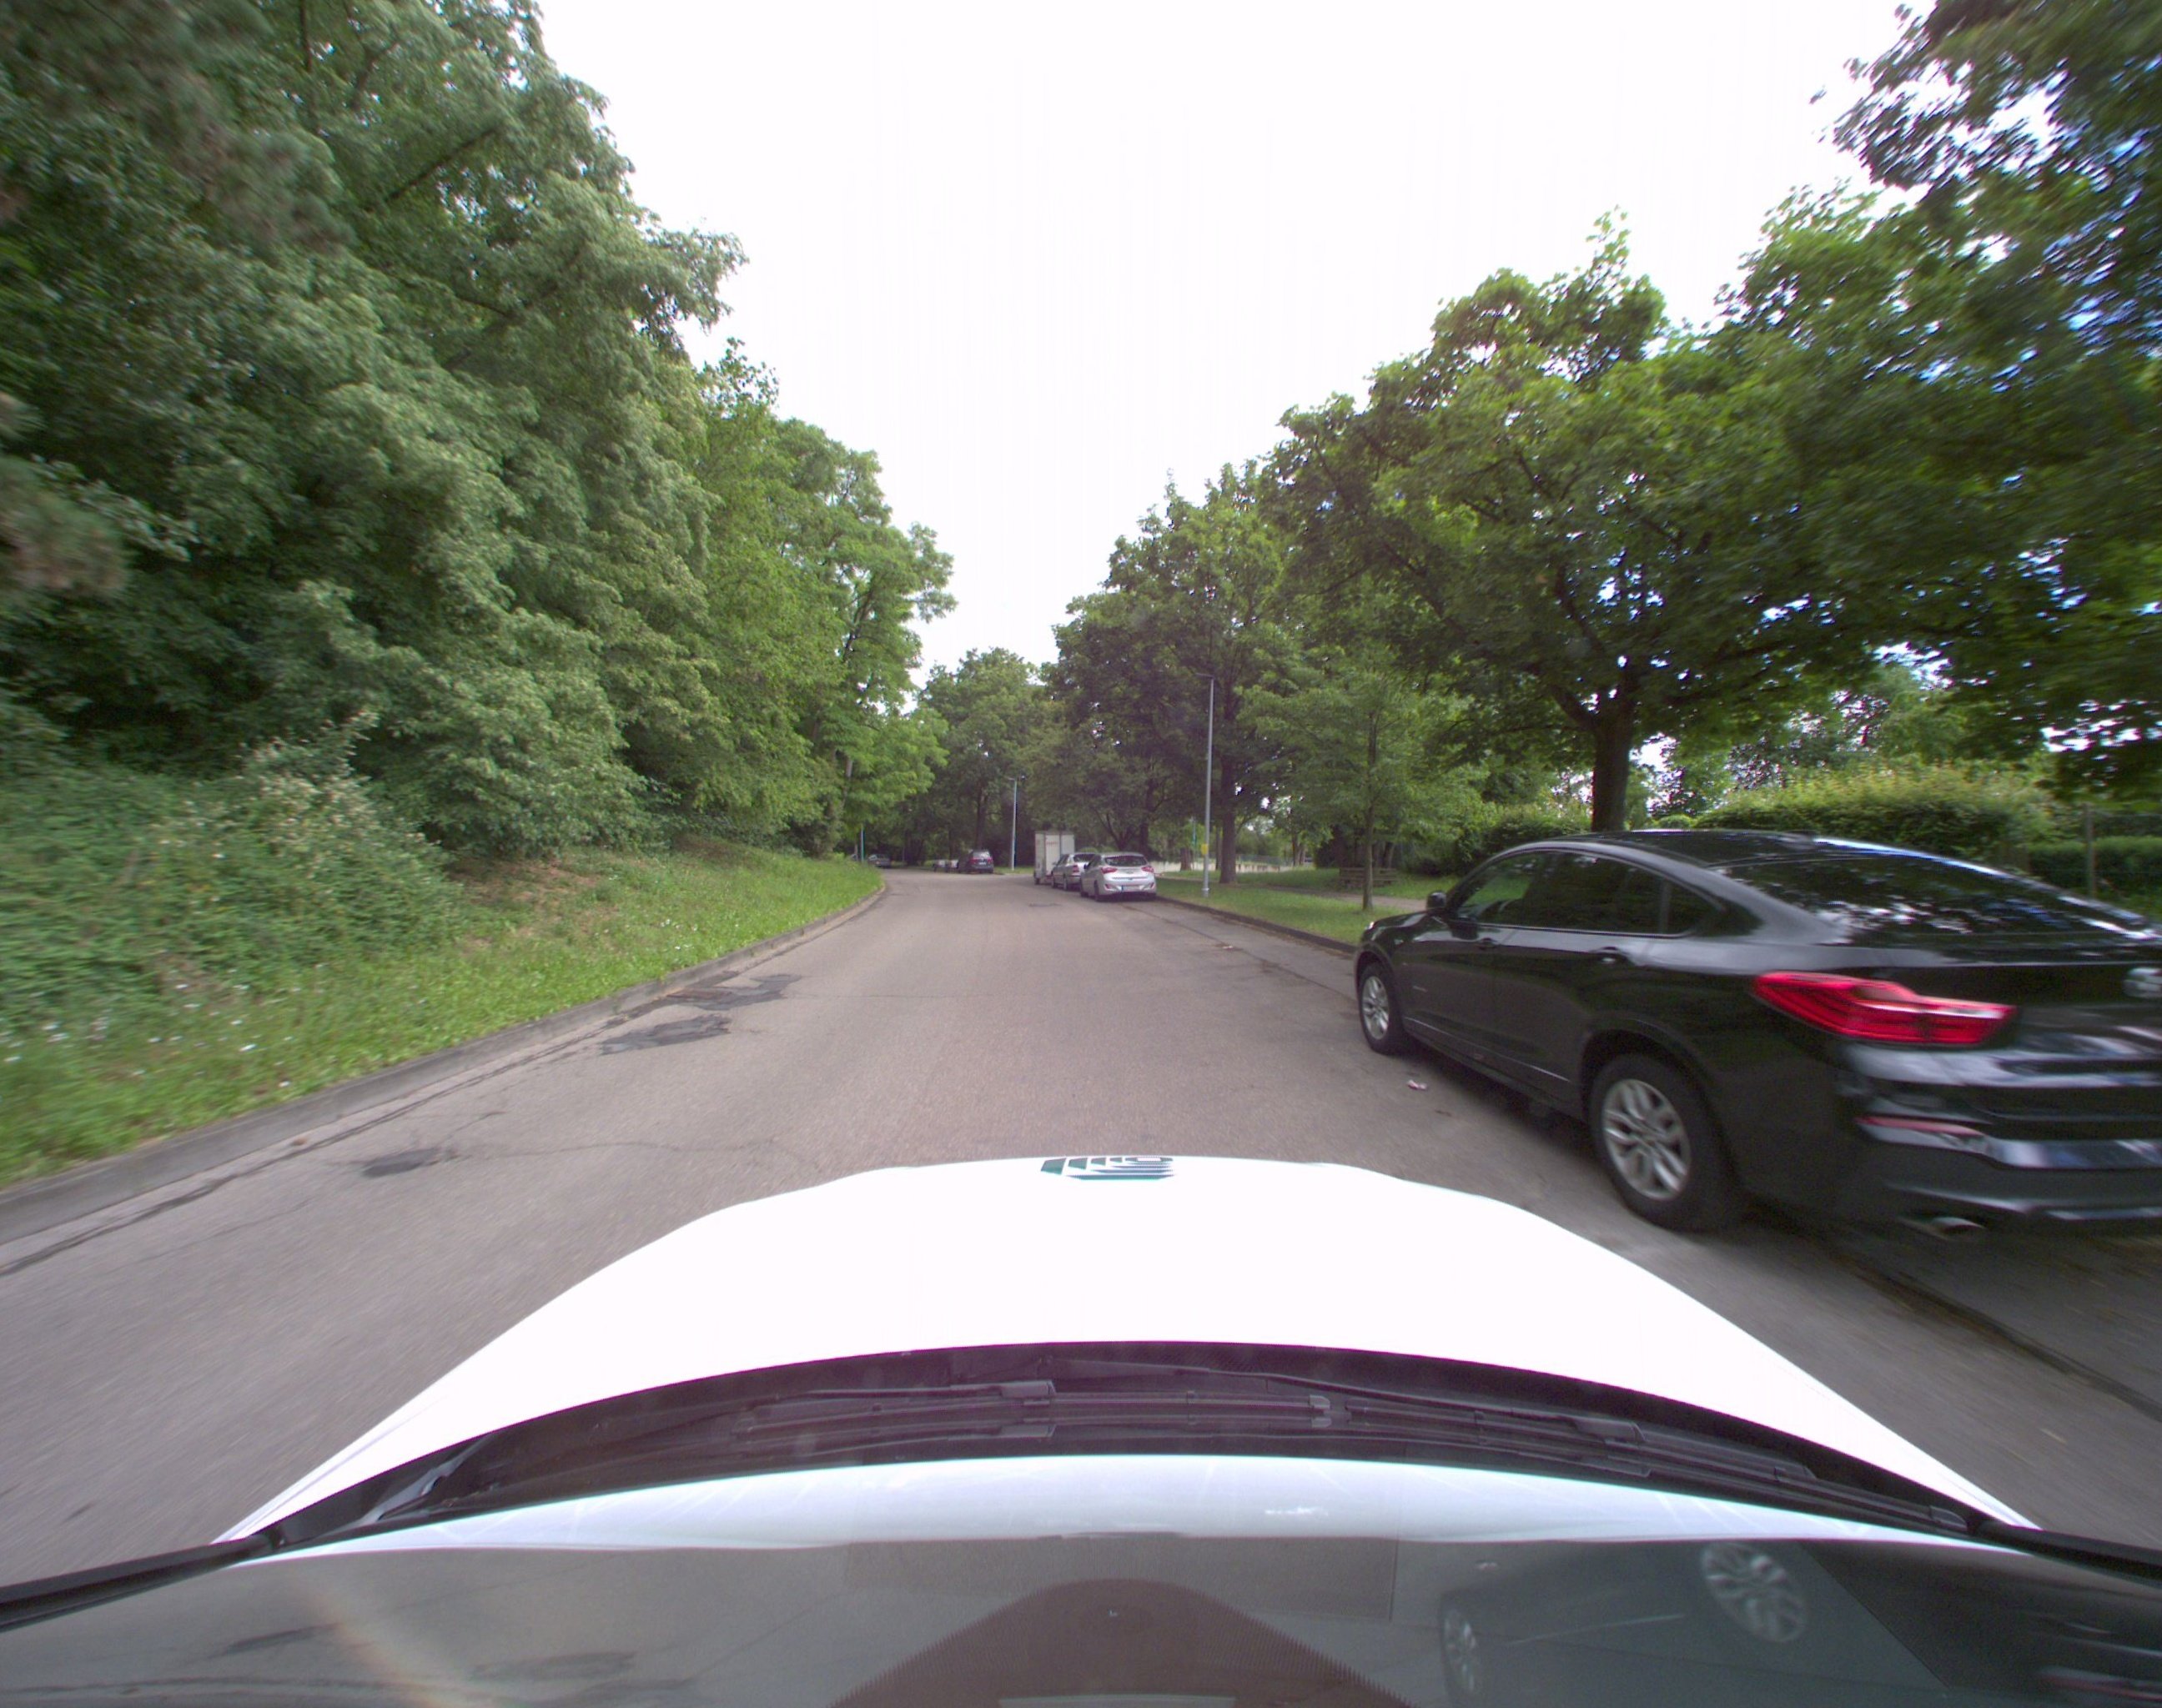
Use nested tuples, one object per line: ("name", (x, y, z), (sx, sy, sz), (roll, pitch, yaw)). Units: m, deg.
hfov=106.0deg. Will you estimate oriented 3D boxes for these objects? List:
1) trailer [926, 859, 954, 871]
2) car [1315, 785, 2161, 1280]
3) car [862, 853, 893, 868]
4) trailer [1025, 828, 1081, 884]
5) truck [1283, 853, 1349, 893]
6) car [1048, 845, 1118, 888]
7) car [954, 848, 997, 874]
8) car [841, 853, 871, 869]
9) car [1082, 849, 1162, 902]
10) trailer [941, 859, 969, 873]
("trailer", (-11.319, 0.905, 65.376), (1.370, 0.848, 3.251), (2, -2, -25))
("car", (3.113, 0.585, 5.033), (1.844, 1.643, 4.526), (0, 0, -3))
("car", (-20.156, 0.627, 80.693), (1.730, 1.431, 3.907), (-1, -1, -34))
("trailer", (-1.350, 0.077, 37.157), (1.763, 2.427, 3.868), (-1, 0, -14))
("truck", (25.001, 2.082, 86.212), (2.663, 3.998, 9.628), (-1, -3, 43))
("car", (-0.015, 0.469, 31.929), (1.743, 1.525, 4.614), (-1, 0, -13))
("car", (-7.204, 0.482, 55.372), (1.782, 1.663, 4.806), (1, -1, -21))
("car", (-23.866, 0.753, 86.351), (1.726, 1.510, 4.136), (2, -3, -35))
("car", (1.174, 0.617, 25.303), (1.900, 1.476, 4.051), (1, 0, -6))
("trailer", (-9.443, 0.887, 60.998), (1.361, 0.969, 3.867), (2, 0, -19))
